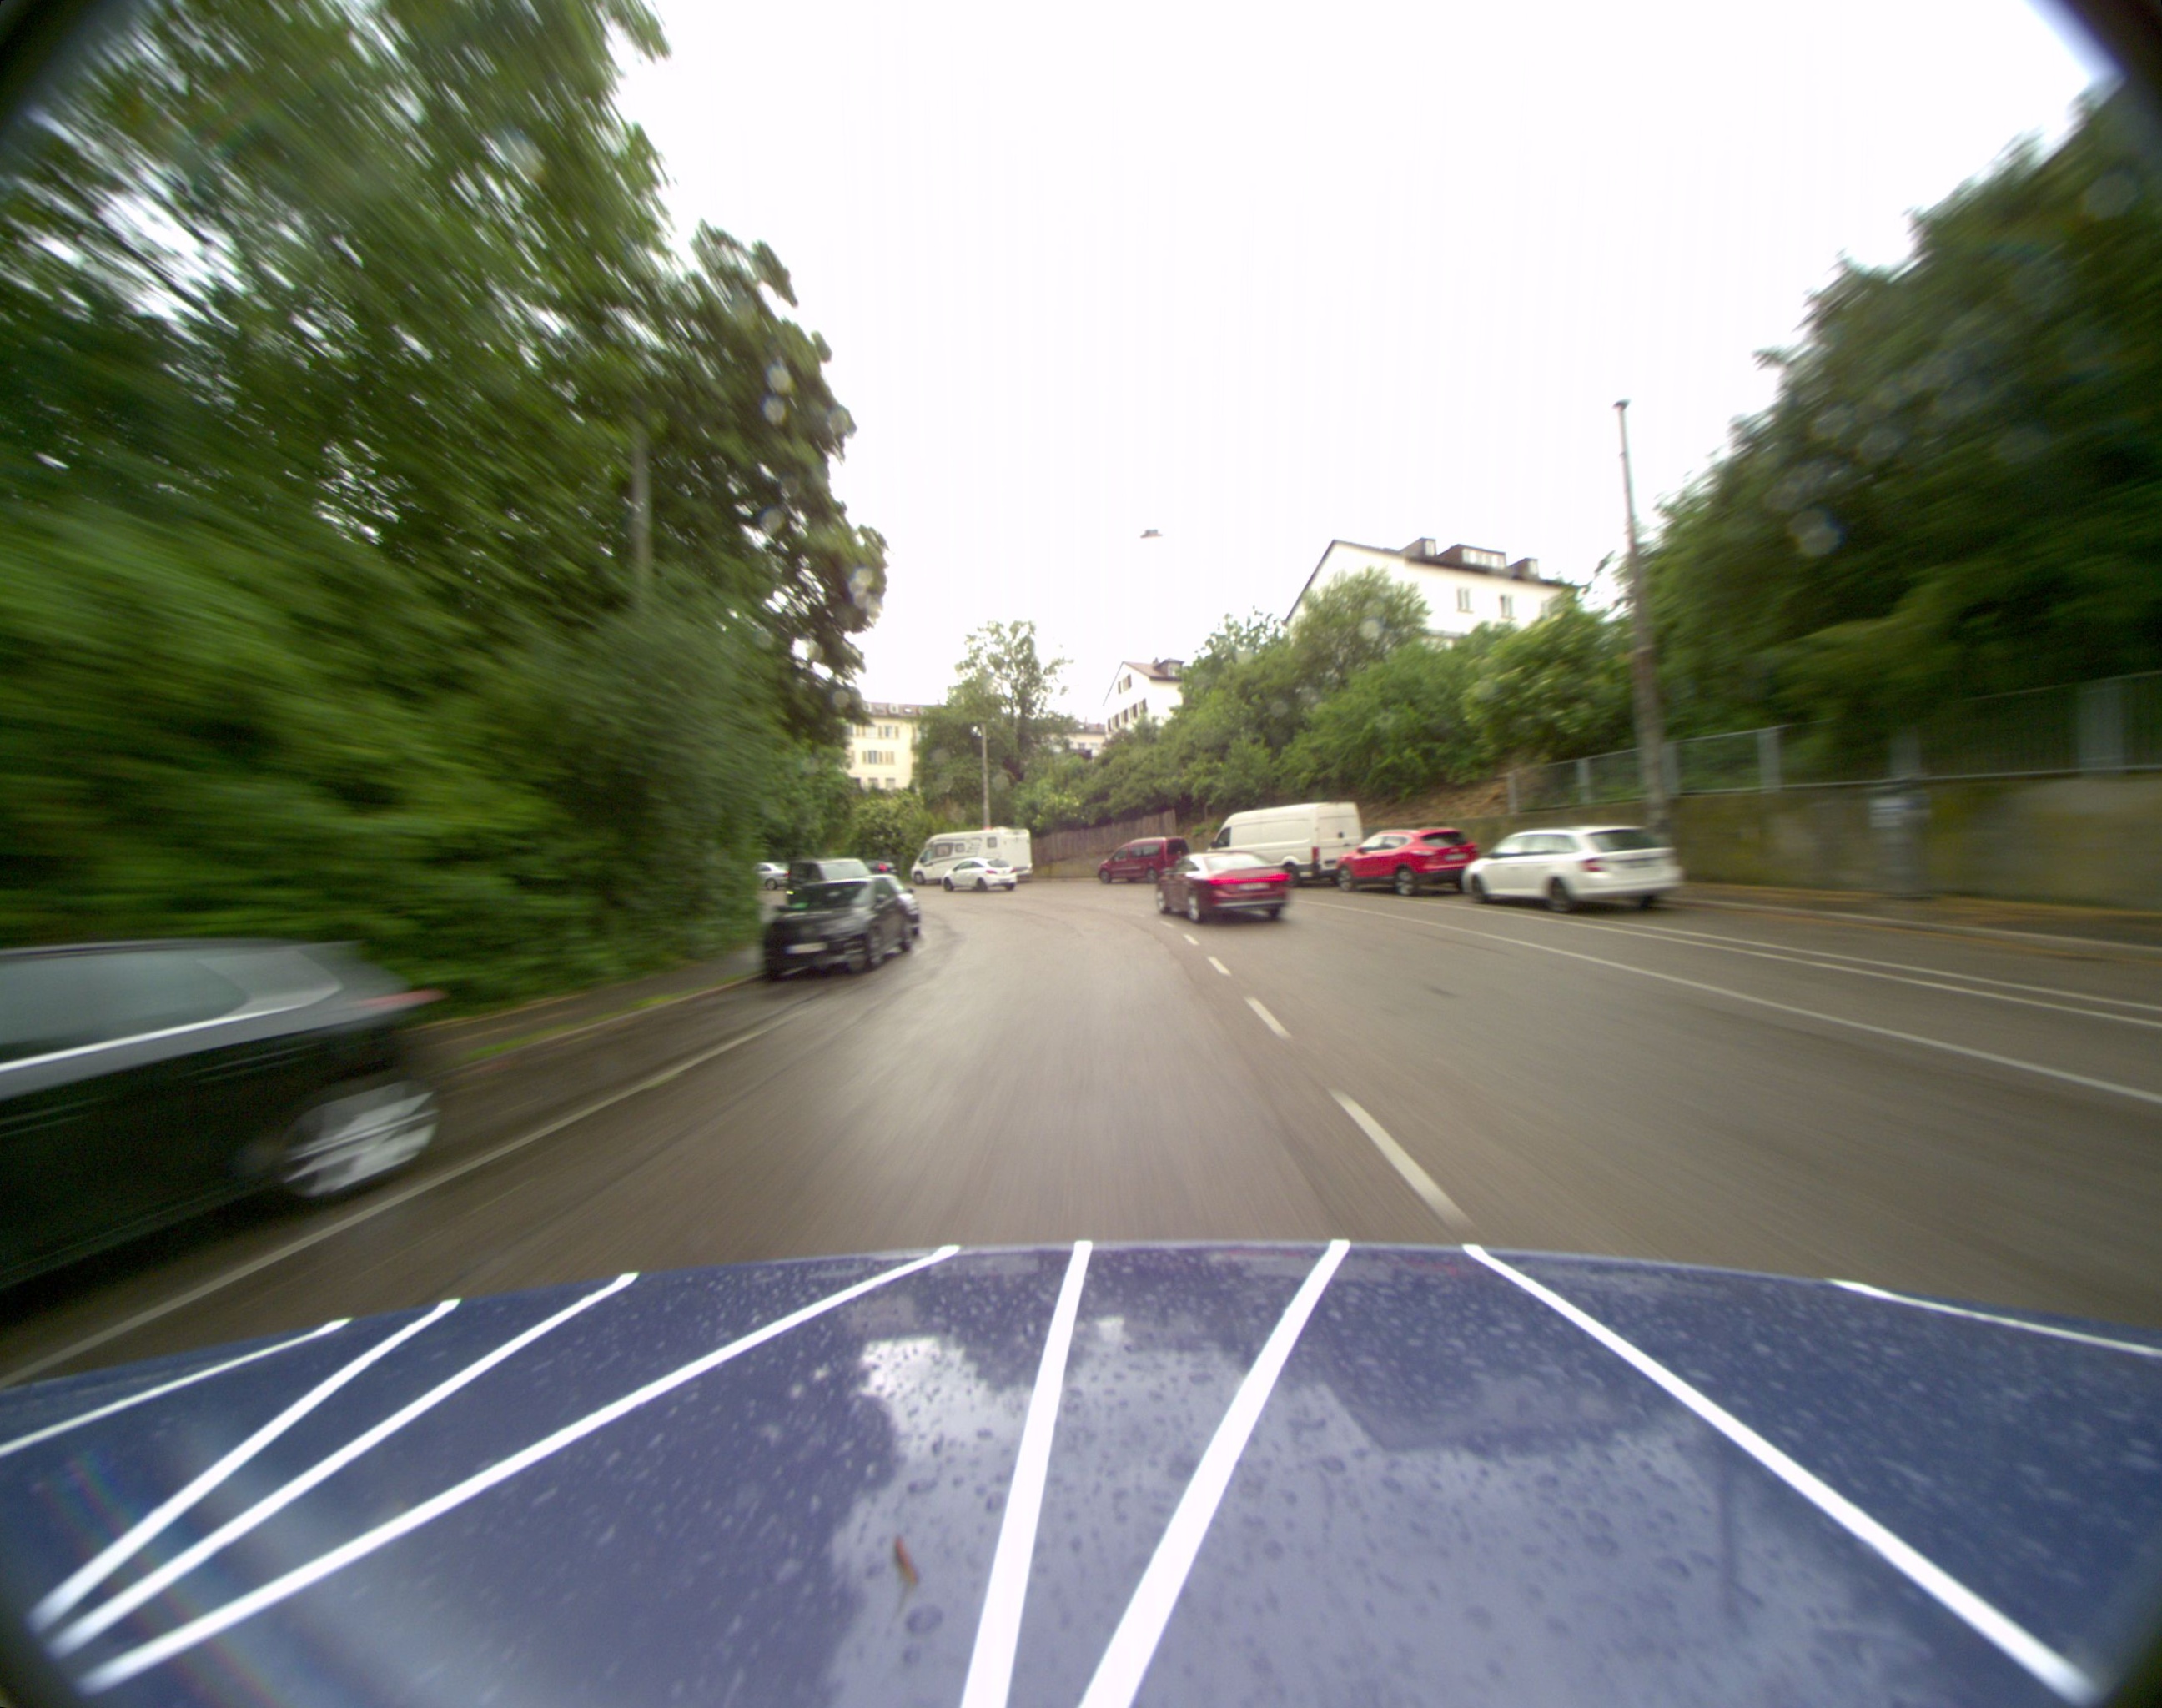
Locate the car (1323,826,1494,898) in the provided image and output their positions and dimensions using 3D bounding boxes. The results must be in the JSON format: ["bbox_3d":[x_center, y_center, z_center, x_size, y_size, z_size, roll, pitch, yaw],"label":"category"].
[{"bbox_3d":[8.279,0.179,19.726,1.781,1.576,4.428,-4,1,-12],"label":"car"}]

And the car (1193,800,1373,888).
[{"bbox_3d":[6.552,-0.273,25.893,2.043,2.516,6.810,-4,1,-23],"label":"car"}]

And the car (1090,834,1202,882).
[{"bbox_3d":[2.774,0.209,33.388,2.003,1.865,4.809,-4,1,-39],"label":"car"}]

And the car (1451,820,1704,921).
[{"bbox_3d":[8.950,0.258,14.204,1.743,1.470,4.197,-5,0,-3],"label":"car"}]

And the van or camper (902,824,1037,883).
[{"bbox_3d":[-6.162,0.000,41.382,7.505,2.950,2.463,-1,2,34],"label":"van or camper"}]

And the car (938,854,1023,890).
[{"bbox_3d":[-4.519,0.805,33.864,1.610,1.487,4.022,-3,1,-45],"label":"car"}]

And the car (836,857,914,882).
[{"bbox_3d":[-12.171,0.919,44.817,4.122,1.403,1.918,-1,0,24],"label":"car"}]

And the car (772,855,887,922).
[{"bbox_3d":[-8.460,1.063,25.254,2.003,1.876,5.023,-5,3,-37],"label":"car"}]

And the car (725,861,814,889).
[{"bbox_3d":[-16.447,1.095,40.112,4.328,1.377,1.793,0,1,24],"label":"car"}]

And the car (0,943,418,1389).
[{"bbox_3d":[-4.625,1.227,2.318,1.593,1.381,3.823,-4,0,4],"label":"car"}]

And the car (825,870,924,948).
[{"bbox_3d":[-5.386,1.274,19.398,1.909,1.479,4.866,-5,2,-20],"label":"car"}]

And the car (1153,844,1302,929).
[{"bbox_3d":[3.020,0.653,16.704,1.873,1.507,4.482,-3,0,-7],"label":"car"}]

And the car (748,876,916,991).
[{"bbox_3d":[-4.132,1.240,13.256,1.631,1.479,3.744,-5,0,-1],"label":"car"}]
